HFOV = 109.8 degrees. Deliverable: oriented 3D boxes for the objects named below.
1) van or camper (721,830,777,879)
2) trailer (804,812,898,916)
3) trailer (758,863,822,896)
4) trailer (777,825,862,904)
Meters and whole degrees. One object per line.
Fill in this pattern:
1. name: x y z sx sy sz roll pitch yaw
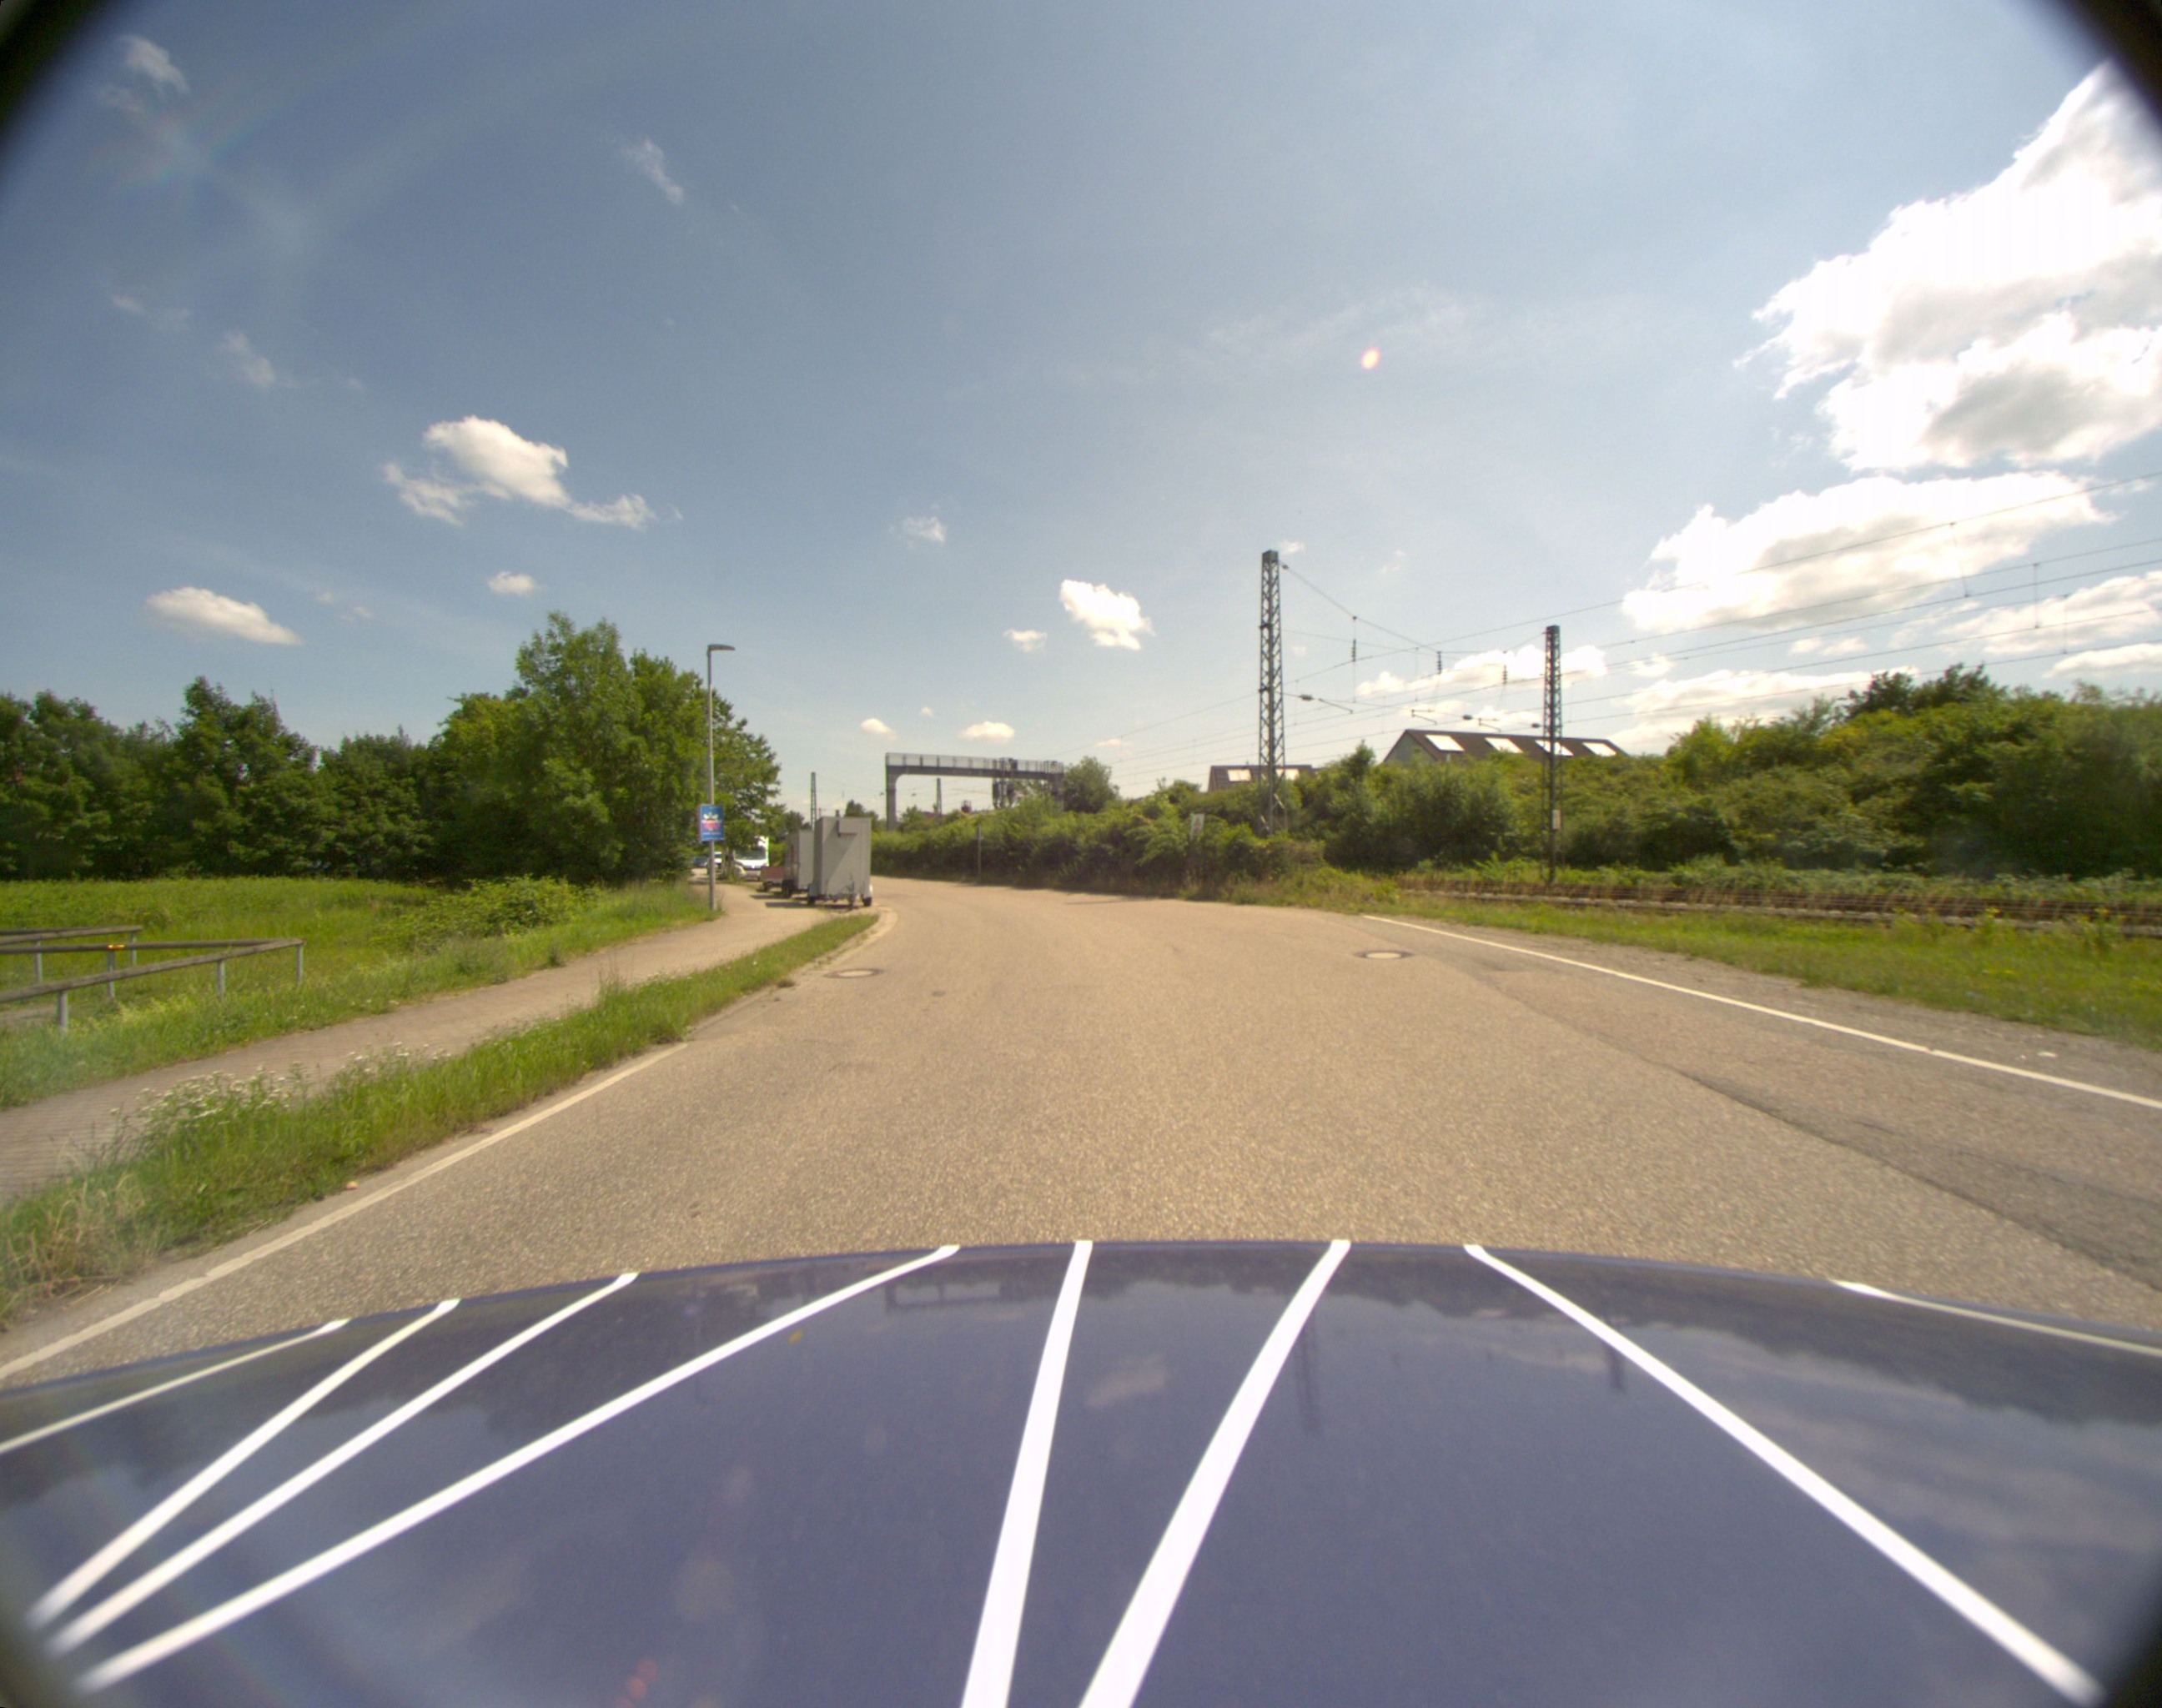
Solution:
1. van or camper: -20.844 0.034 47.480 2.451 2.810 7.604 1 0 -30
2. trailer: -6.756 0.286 21.905 1.942 2.628 5.173 2 -1 -24
3. trailer: -12.008 1.013 31.170 2.014 1.116 4.478 2 0 -27
4. trailer: -9.194 0.345 26.455 1.928 2.493 4.729 2 -1 -29
